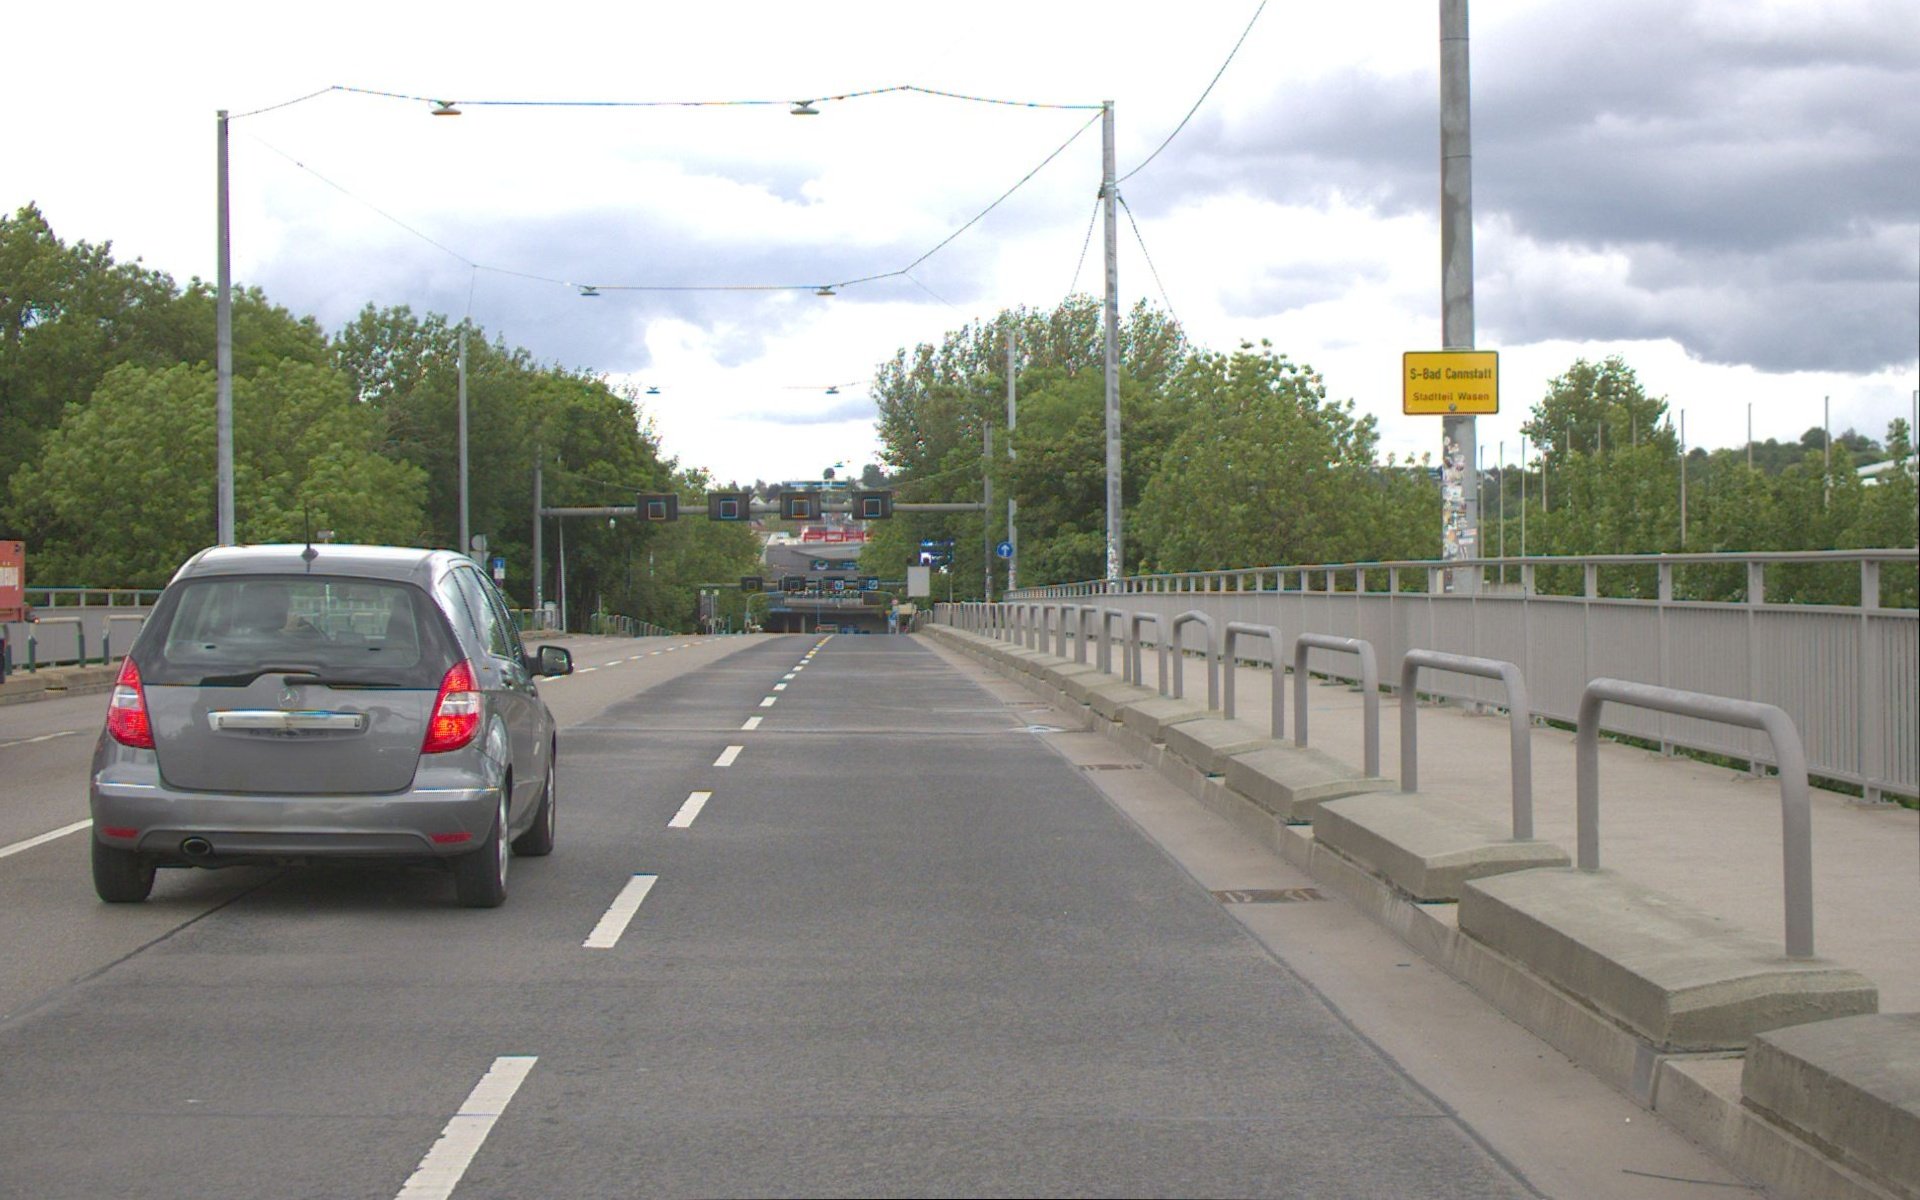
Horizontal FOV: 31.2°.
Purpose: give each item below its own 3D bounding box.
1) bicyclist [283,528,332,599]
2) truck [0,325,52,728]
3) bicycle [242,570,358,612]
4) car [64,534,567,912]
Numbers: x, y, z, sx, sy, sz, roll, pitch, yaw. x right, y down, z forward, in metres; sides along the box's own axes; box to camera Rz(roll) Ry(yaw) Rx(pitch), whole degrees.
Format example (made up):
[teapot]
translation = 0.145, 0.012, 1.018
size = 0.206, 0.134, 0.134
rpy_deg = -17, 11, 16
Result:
[bicyclist]
translation = -16.418, -0.911, 86.489
size = 1.132, 1.758, 0.905
rpy_deg = 0, 0, -6
[truck]
translation = -9.860, -0.565, 27.025
size = 3.005, 3.553, 9.983
rpy_deg = -2, 1, -2
[bicycle]
translation = -16.581, -0.231, 86.458
size = 2.790, 1.047, 0.921
rpy_deg = 0, 0, -6
[car]
translation = -2.861, 0.475, 16.026
size = 1.745, 1.545, 3.871
rpy_deg = 0, 1, -2
